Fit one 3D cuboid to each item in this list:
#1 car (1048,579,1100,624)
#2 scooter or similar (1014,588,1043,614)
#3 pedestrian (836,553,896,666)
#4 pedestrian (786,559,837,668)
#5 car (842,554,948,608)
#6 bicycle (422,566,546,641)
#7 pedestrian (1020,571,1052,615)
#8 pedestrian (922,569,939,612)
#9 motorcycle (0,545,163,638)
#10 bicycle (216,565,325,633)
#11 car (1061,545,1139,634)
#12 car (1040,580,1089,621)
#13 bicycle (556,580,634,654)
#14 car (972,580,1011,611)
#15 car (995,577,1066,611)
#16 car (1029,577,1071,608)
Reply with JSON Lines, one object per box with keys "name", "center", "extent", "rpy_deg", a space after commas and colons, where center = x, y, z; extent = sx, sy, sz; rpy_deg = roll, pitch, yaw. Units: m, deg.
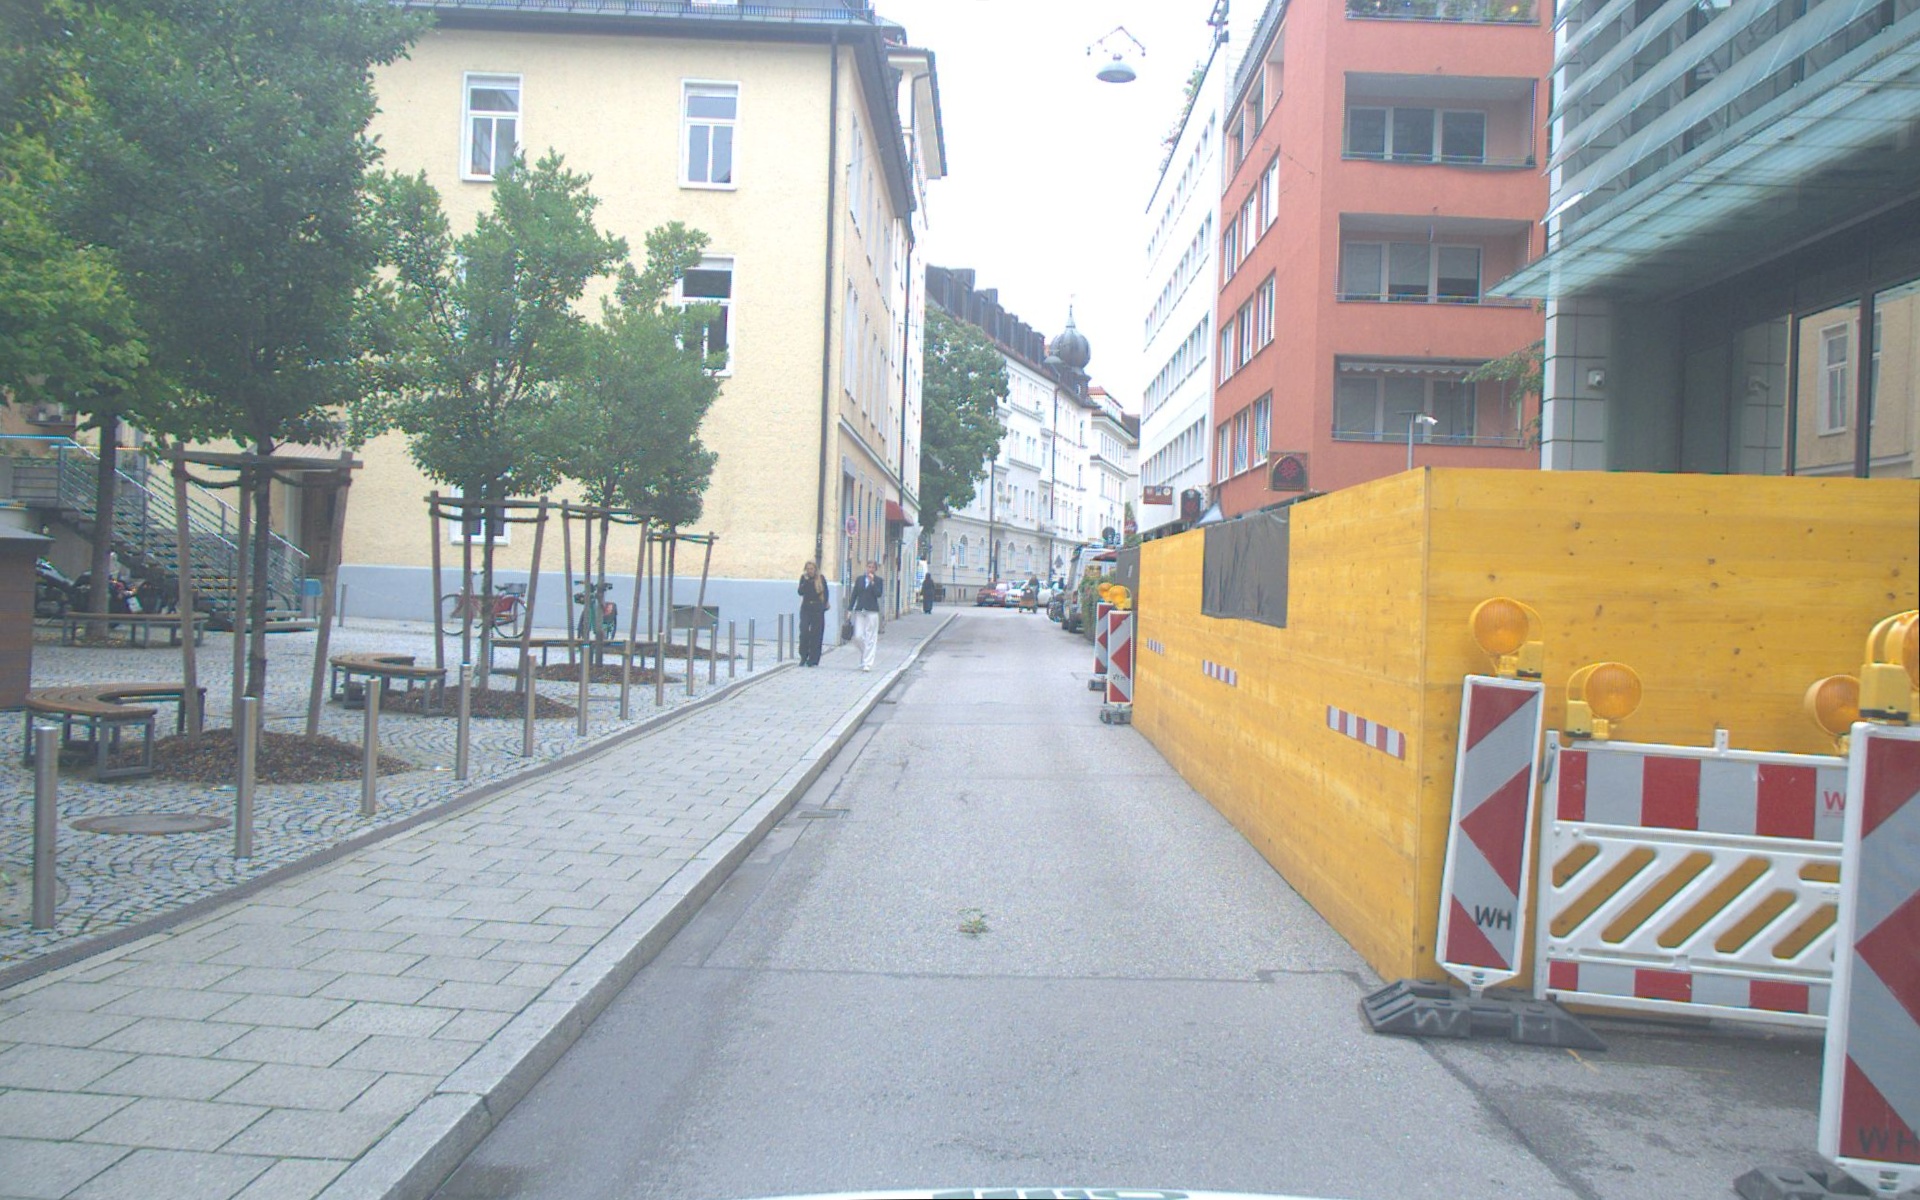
{"name": "car", "center": [4.509, 0.017, 65.950], "extent": [1.751, 1.653, 4.273], "rpy_deg": [3, 1, 0]}
{"name": "scooter or similar", "center": [3.220, 0.056, 77.983], "extent": [1.045, 1.146, 1.161], "rpy_deg": [3, 0, 17]}
{"name": "pedestrian", "center": [-1.479, 0.144, 26.234], "extent": [0.822, 1.730, 0.803], "rpy_deg": [3, 0, 0]}
{"name": "pedestrian", "center": [-2.343, 0.211, 26.198], "extent": [0.656, 1.676, 0.761], "rpy_deg": [3, 0, 0]}
{"name": "car", "center": [-3.269, -0.955, 83.153], "extent": [4.919, 2.440, 1.982], "rpy_deg": [3, 0, -28]}
{"name": "bicycle", "center": [-8.421, 0.062, 29.261], "extent": [2.000, 1.218, 0.570], "rpy_deg": [3, 0, 8]}
{"name": "pedestrian", "center": [3.661, -0.343, 79.403], "extent": [1.109, 2.048, 1.410], "rpy_deg": [3, 0, 17]}
{"name": "pedestrian", "center": [-1.182, -0.374, 66.363], "extent": [0.621, 1.704, 0.517], "rpy_deg": [3, 0, 0]}
{"name": "motorcycle", "center": [-13.332, -0.141, 24.780], "extent": [2.447, 1.266, 0.759], "rpy_deg": [3, 0, 8]}
{"name": "bicycle", "center": [-12.095, -0.019, 29.024], "extent": [1.621, 1.087, 0.598], "rpy_deg": [3, 0, 5]}
{"name": "car", "center": [4.363, -0.355, 52.236], "extent": [1.953, 2.580, 4.975], "rpy_deg": [3, 1, 0]}
{"name": "car", "center": [4.444, -0.002, 70.610], "extent": [1.774, 1.590, 4.275], "rpy_deg": [3, 0, 0]}
{"name": "bicycle", "center": [-6.003, 0.268, 27.338], "extent": [0.499, 1.164, 2.054], "rpy_deg": [3, 0, 9]}
{"name": "car", "center": [1.763, -0.266, 92.287], "extent": [1.655, 1.601, 4.003], "rpy_deg": [3, 1, 8]}
{"name": "car", "center": [3.792, -0.314, 88.543], "extent": [1.666, 1.601, 3.977], "rpy_deg": [3, 1, 41]}
{"name": "car", "center": [5.816, -0.461, 106.842], "extent": [1.977, 1.937, 4.294], "rpy_deg": [1, 0, 13]}
